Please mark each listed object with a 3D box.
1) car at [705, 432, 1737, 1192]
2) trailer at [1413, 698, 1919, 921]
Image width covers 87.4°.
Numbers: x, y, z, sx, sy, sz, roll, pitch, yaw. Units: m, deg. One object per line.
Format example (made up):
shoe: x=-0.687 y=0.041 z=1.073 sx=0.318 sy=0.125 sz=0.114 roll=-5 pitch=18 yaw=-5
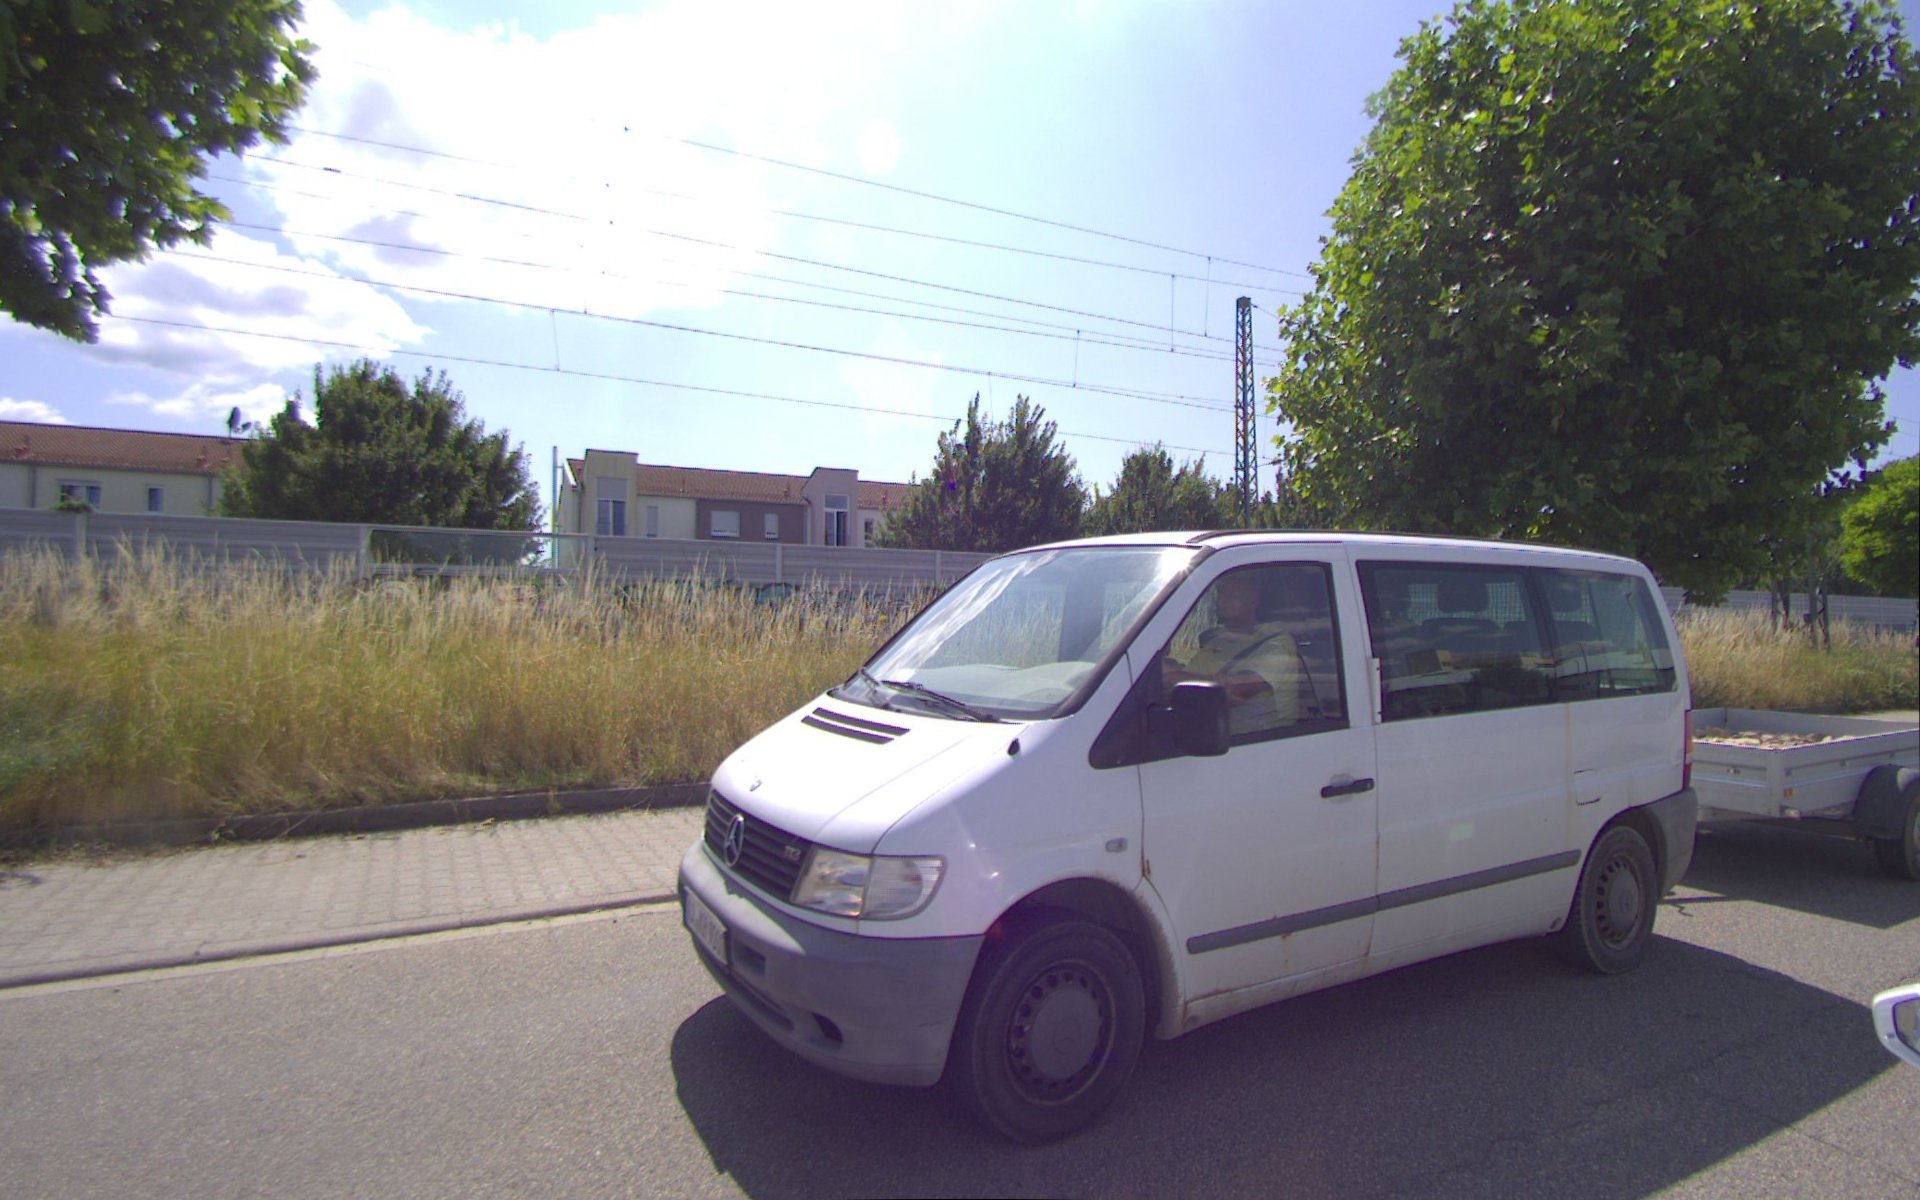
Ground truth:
car: x=1.326 y=0.585 z=4.432 sx=4.432 sy=1.882 sz=1.829 roll=1 pitch=-2 yaw=-31
trailer: x=5.121 y=1.181 z=6.678 sx=4.174 sy=0.861 sz=1.810 roll=1 pitch=-3 yaw=-31
